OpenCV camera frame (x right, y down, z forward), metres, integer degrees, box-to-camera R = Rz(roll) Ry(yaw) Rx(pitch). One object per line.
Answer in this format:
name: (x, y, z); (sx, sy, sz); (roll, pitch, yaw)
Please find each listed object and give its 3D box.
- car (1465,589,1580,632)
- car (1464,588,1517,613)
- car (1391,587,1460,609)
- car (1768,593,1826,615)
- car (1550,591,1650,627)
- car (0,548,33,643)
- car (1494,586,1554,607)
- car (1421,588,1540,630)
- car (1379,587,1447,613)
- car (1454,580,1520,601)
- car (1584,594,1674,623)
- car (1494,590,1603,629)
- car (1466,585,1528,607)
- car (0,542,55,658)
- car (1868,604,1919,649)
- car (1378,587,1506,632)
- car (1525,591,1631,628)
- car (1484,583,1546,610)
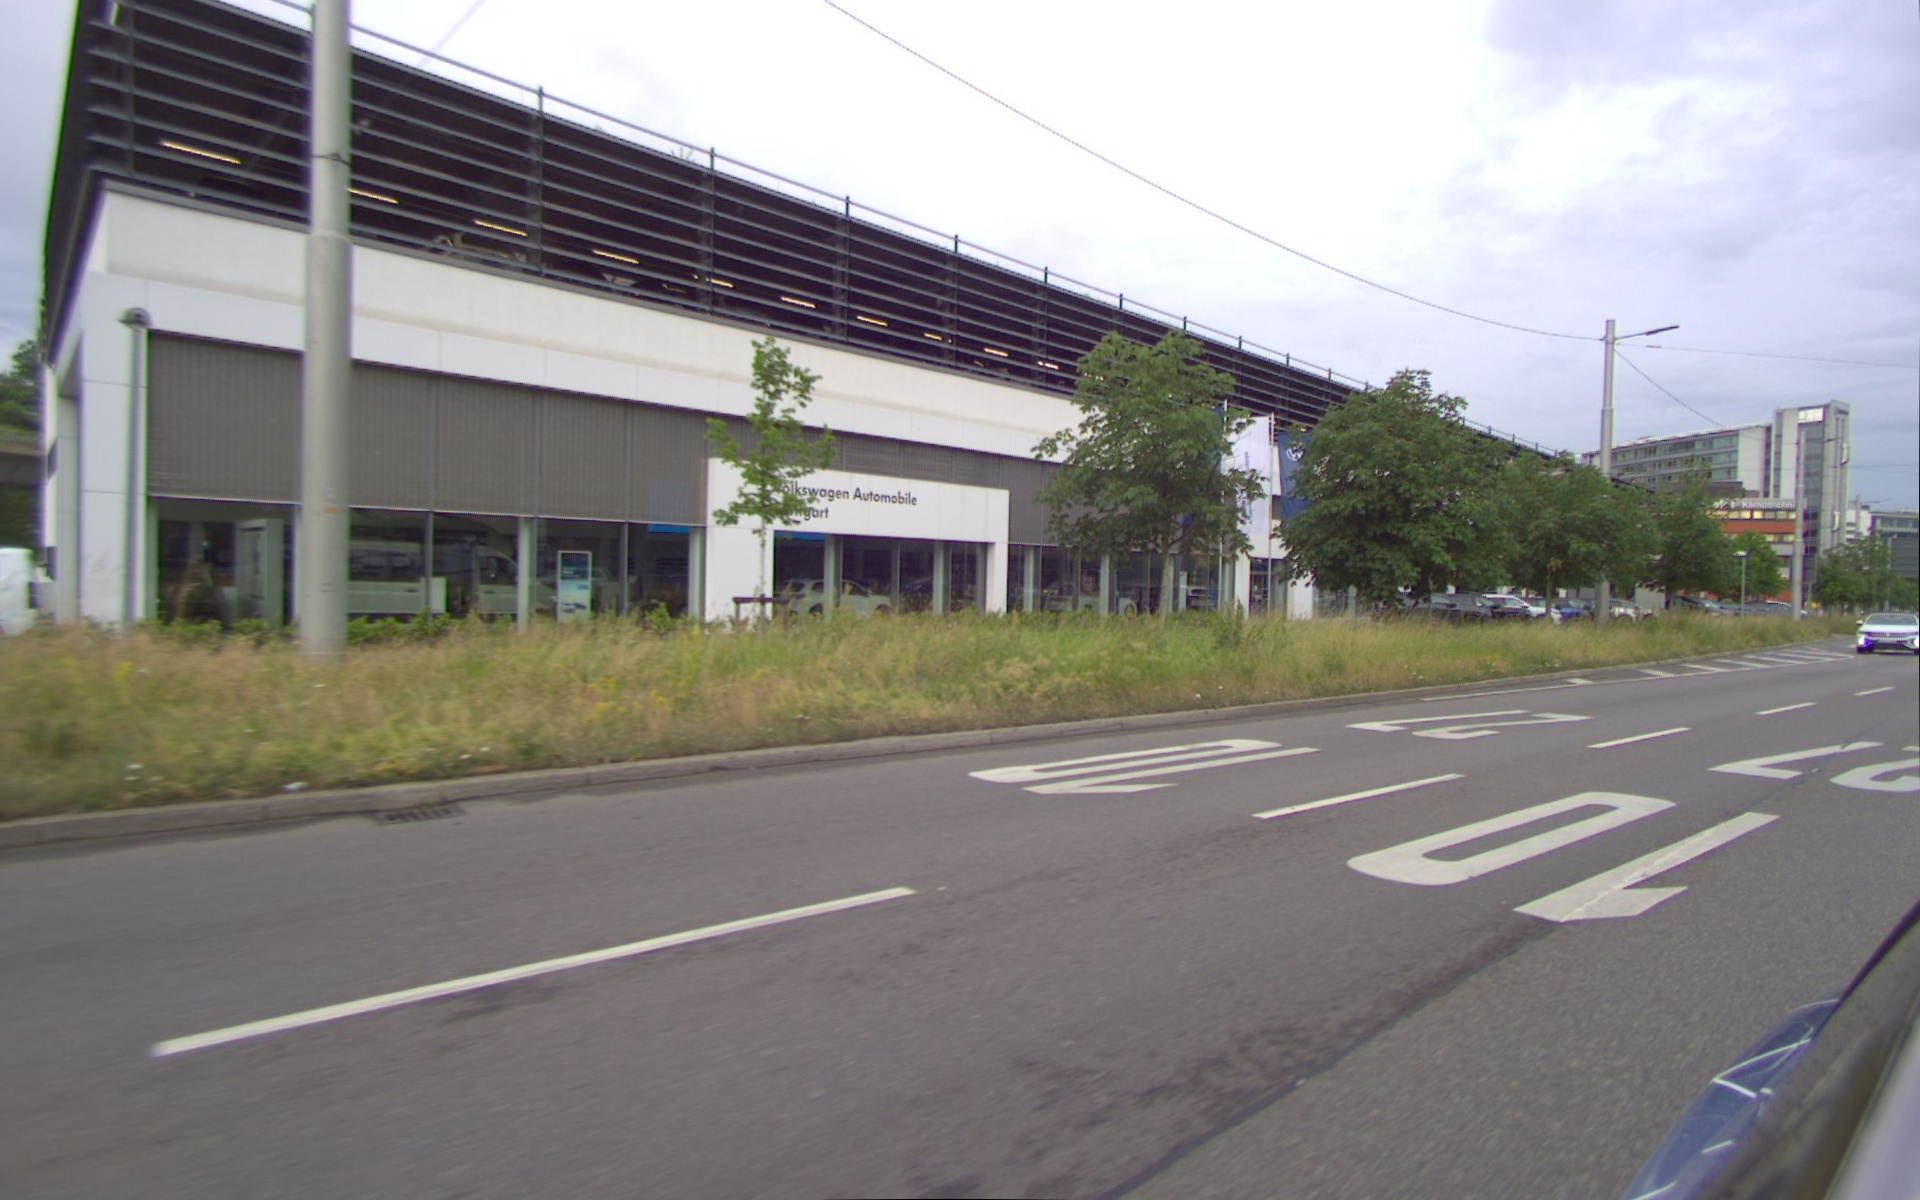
car: (26.030, 0.448, 46.984); (4.296, 1.646, 1.847); (3, 3, 17)
car: (35.146, 0.001, 67.024); (4.618, 1.485, 1.781); (0, 4, -45)
car: (32.356, -0.124, 70.405); (1.755, 1.527, 3.993); (0, -1, -41)
car: (89.867, 0.387, 108.705); (4.460, 2.016, 1.803); (4, 2, 29)
car: (34.220, 0.461, 54.207); (4.034, 1.587, 1.795); (3, 3, 10)
car: (-22.915, -0.101, 21.500); (1.945, 2.077, 4.632); (-1, -1, 43)
car: (47.012, -0.307, 84.392); (1.873, 1.652, 3.991); (1, 2, -44)
car: (23.095, 0.376, 45.054); (4.314, 1.587, 1.791); (3, 3, 16)
car: (30.598, -0.011, 68.415); (1.611, 1.607, 3.819); (1, 2, -44)
car: (39.010, -0.705, 75.025); (1.735, 1.442, 3.991); (1, 2, -44)
car: (40.359, 0.498, 61.141); (4.039, 1.483, 1.742); (3, 3, 14)
car: (28.513, 0.436, 49.149); (4.125, 1.587, 1.794); (3, 3, 12)
car: (43.066, -0.320, 81.178); (1.873, 1.556, 3.991); (1, 2, -44)
car: (-18.929, -0.026, 17.322); (2.044, 2.039, 5.009); (1, 0, 44)
car: (34.430, 0.949, 36.743); (3.771, 1.513, 1.876); (1, 0, -43)
car: (20.297, 0.377, 42.791); (4.563, 1.587, 1.843); (3, 3, 17)
car: (31.359, 0.448, 51.450); (4.117, 1.587, 1.797); (2, 3, 6)
car: (45.263, -0.316, 82.642); (1.913, 2.000, 4.030); (1, 2, -44)
